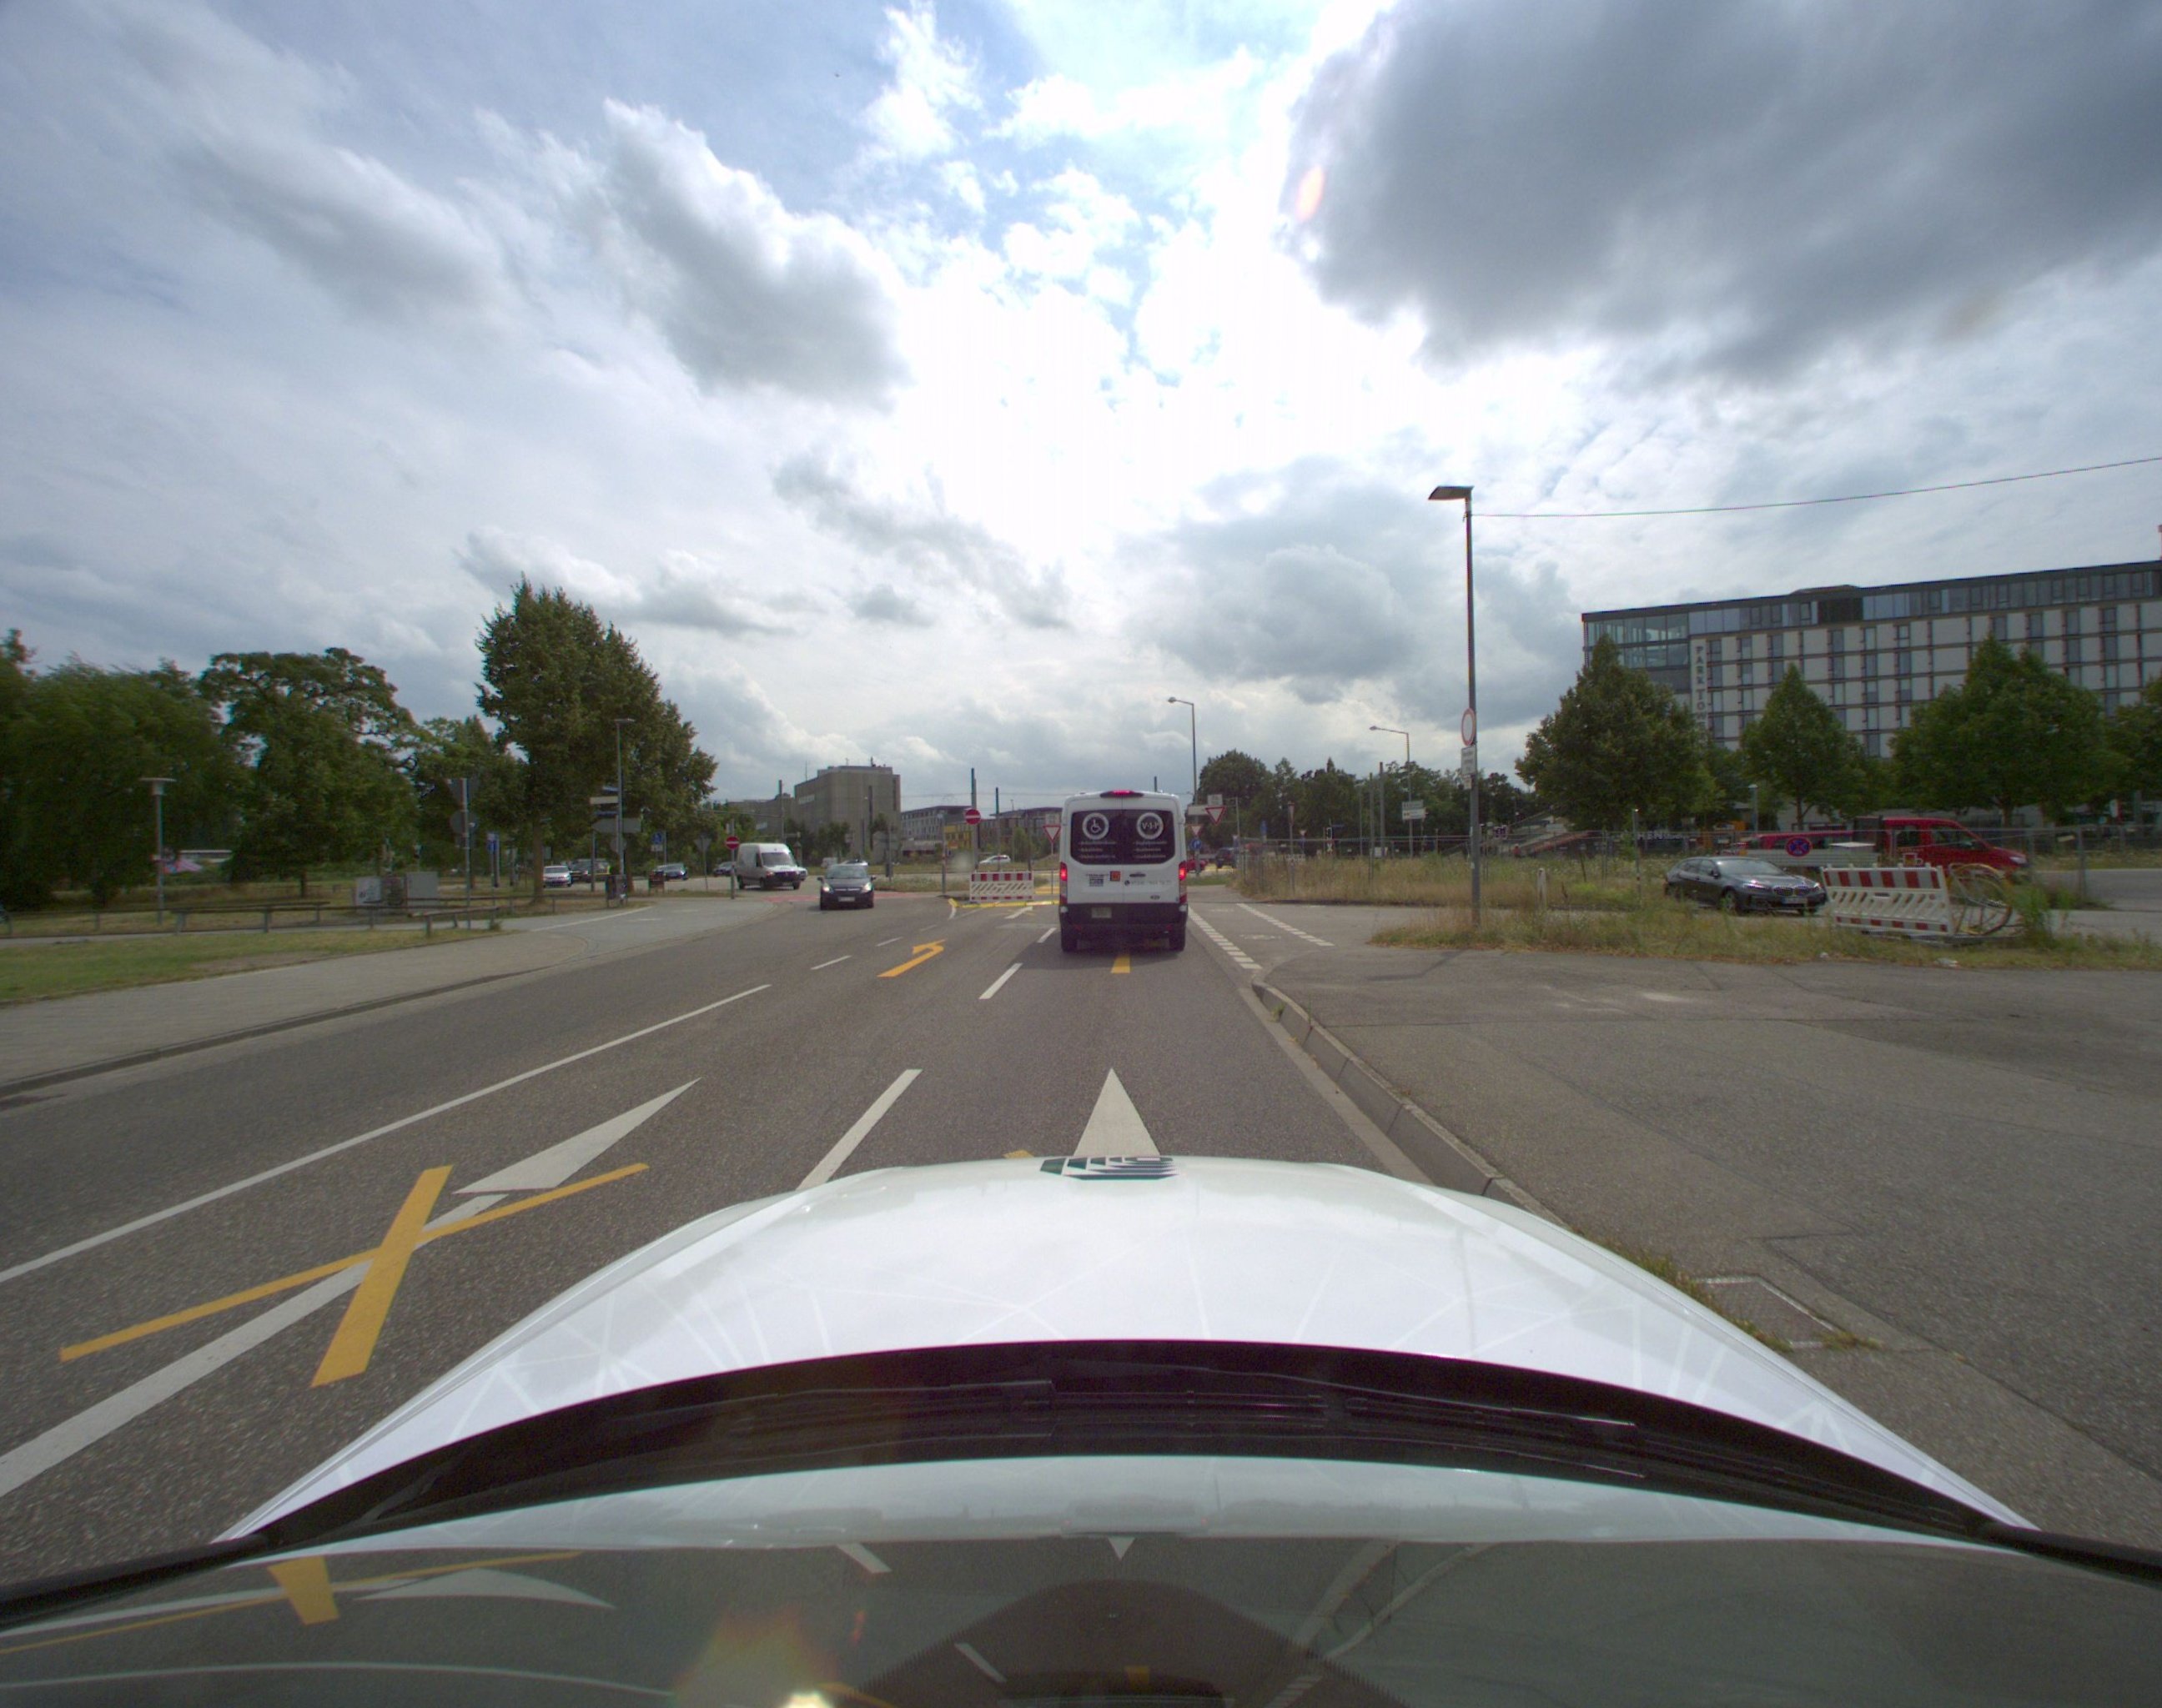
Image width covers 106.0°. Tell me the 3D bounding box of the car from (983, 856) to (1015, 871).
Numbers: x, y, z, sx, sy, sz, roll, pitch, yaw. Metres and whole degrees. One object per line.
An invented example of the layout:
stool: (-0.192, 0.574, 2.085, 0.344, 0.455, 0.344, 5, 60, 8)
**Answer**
car: (-11.213, 1.346, 111.411, 4.014, 1.772, 1.750, -3, 0, -32)

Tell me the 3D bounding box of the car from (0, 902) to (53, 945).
car: (-40.219, 2.623, 29.434, 1.658, 1.477, 3.626, -3, 1, -7)

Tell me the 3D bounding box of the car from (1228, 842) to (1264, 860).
car: (18.909, -0.345, 93.433, 2.013, 1.816, 4.384, -3, 0, -18)

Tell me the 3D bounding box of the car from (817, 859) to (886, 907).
car: (-7.742, 0.927, 27.792, 1.772, 1.478, 4.242, -1, 0, -10)

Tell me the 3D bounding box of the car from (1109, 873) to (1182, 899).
car: (4.149, 2.034, 52.289, 4.359, 1.354, 1.610, -3, 0, -22)

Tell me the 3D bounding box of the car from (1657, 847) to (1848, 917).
car: (16.929, 0.628, 20.860, 1.839, 1.497, 4.348, -3, 0, 10)

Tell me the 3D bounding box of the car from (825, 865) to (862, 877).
car: (-28.633, 2.015, 98.205, 4.018, 1.192, 1.667, -3, 0, -36)

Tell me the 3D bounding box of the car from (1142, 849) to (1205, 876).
car: (6.571, 0.610, 57.862, 4.004, 1.662, 1.876, -3, 0, -23)

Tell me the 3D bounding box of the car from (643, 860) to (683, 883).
car: (-35.459, 1.482, 69.078, 2.011, 1.772, 3.952, -3, 0, -42)

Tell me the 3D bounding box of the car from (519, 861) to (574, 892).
car: (-39.674, 1.679, 60.437, 3.948, 2.013, 2.013, -3, 0, 34)

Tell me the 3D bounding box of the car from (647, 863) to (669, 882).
car: (-42.055, 1.834, 80.936, 1.772, 1.772, 3.963, -3, 0, -28)

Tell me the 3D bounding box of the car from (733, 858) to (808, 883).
car: (-21.350, 1.132, 55.977, 4.981, 1.579, 1.876, -1, 0, 25)

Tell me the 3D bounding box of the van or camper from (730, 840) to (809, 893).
van or camper: (-17.670, 0.685, 46.022, 2.168, 2.725, 6.203, -3, 1, -40)

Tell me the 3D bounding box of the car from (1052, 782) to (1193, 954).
car: (0.698, 0.219, 14.127, 2.054, 2.540, 4.002, -1, 0, 2)

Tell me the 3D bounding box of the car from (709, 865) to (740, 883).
car: (-37.374, 2.087, 85.472, 1.759, 1.772, 3.993, -3, 0, -5)

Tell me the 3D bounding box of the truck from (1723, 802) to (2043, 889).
truck: (24.397, -0.186, 25.305, 6.598, 2.426, 2.549, -1, 0, 28)
